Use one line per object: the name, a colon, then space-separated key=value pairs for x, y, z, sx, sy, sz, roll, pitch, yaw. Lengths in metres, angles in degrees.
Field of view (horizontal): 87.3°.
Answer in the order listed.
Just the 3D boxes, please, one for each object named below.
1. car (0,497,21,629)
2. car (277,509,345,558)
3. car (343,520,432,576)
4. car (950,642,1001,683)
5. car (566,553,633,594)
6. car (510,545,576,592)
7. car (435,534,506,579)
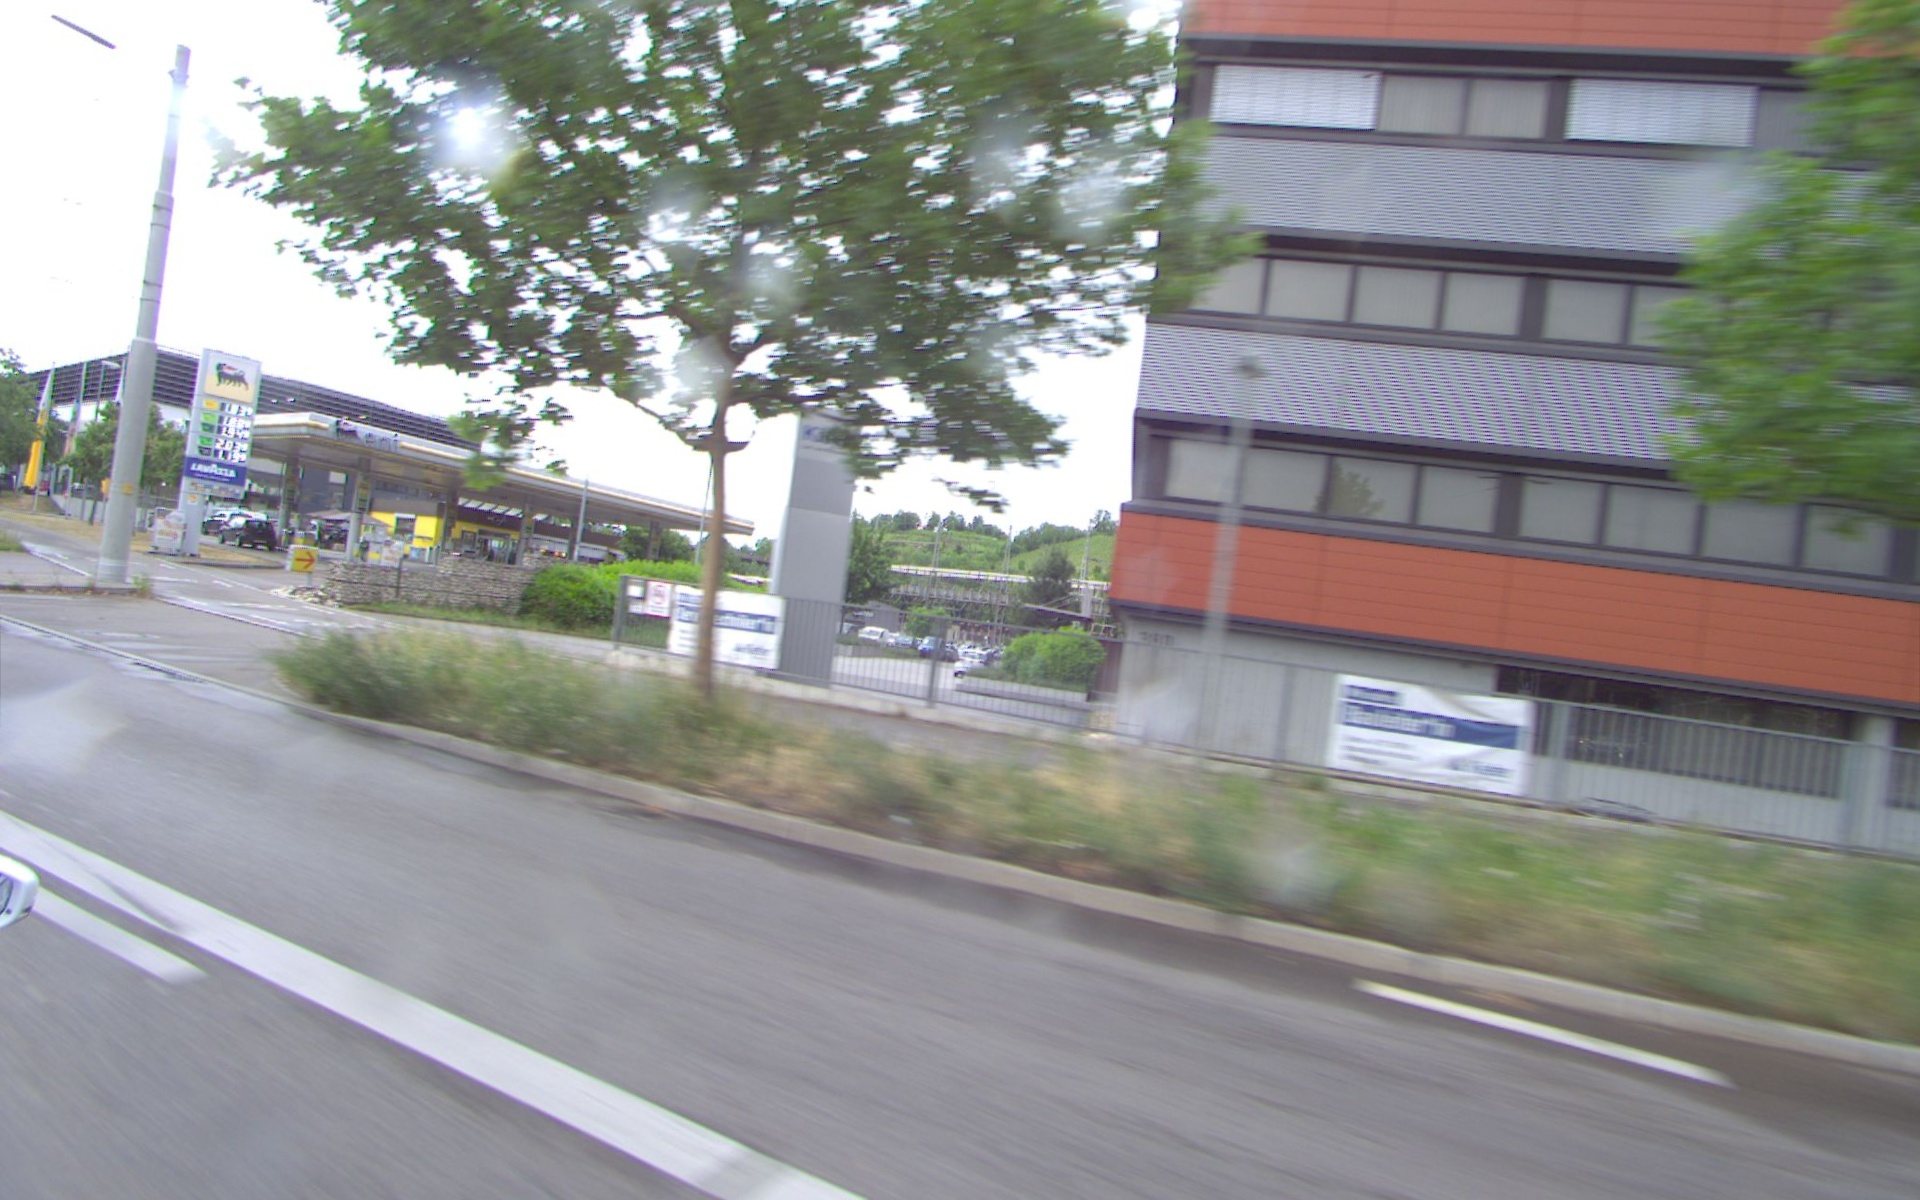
car: x=-13.992 y=-0.719 z=12.941 sx=3.936 sy=1.674 sz=1.832 roll=7 pitch=-3 yaw=34
car: x=-33.368 y=-3.447 z=51.695 sx=3.490 sy=2.035 sz=1.681 roll=7 pitch=-4 yaw=39
car: x=-26.272 y=-2.383 z=46.102 sx=3.939 sy=2.056 sz=1.994 roll=7 pitch=0 yaw=37
car: x=0.825 y=3.214 z=51.205 sx=1.962 sy=1.654 sz=4.008 roll=9 pitch=-3 yaw=8
car: x=-23.884 y=-1.780 z=66.665 sx=3.936 sy=2.035 sz=1.998 roll=7 pitch=-3 yaw=34
car: x=-22.242 y=-1.686 z=53.632 sx=3.090 sy=2.035 sz=1.677 roll=7 pitch=-3 yaw=38
car: x=-28.814 y=-2.541 z=59.164 sx=3.713 sy=2.035 sz=1.875 roll=7 pitch=-3 yaw=34
